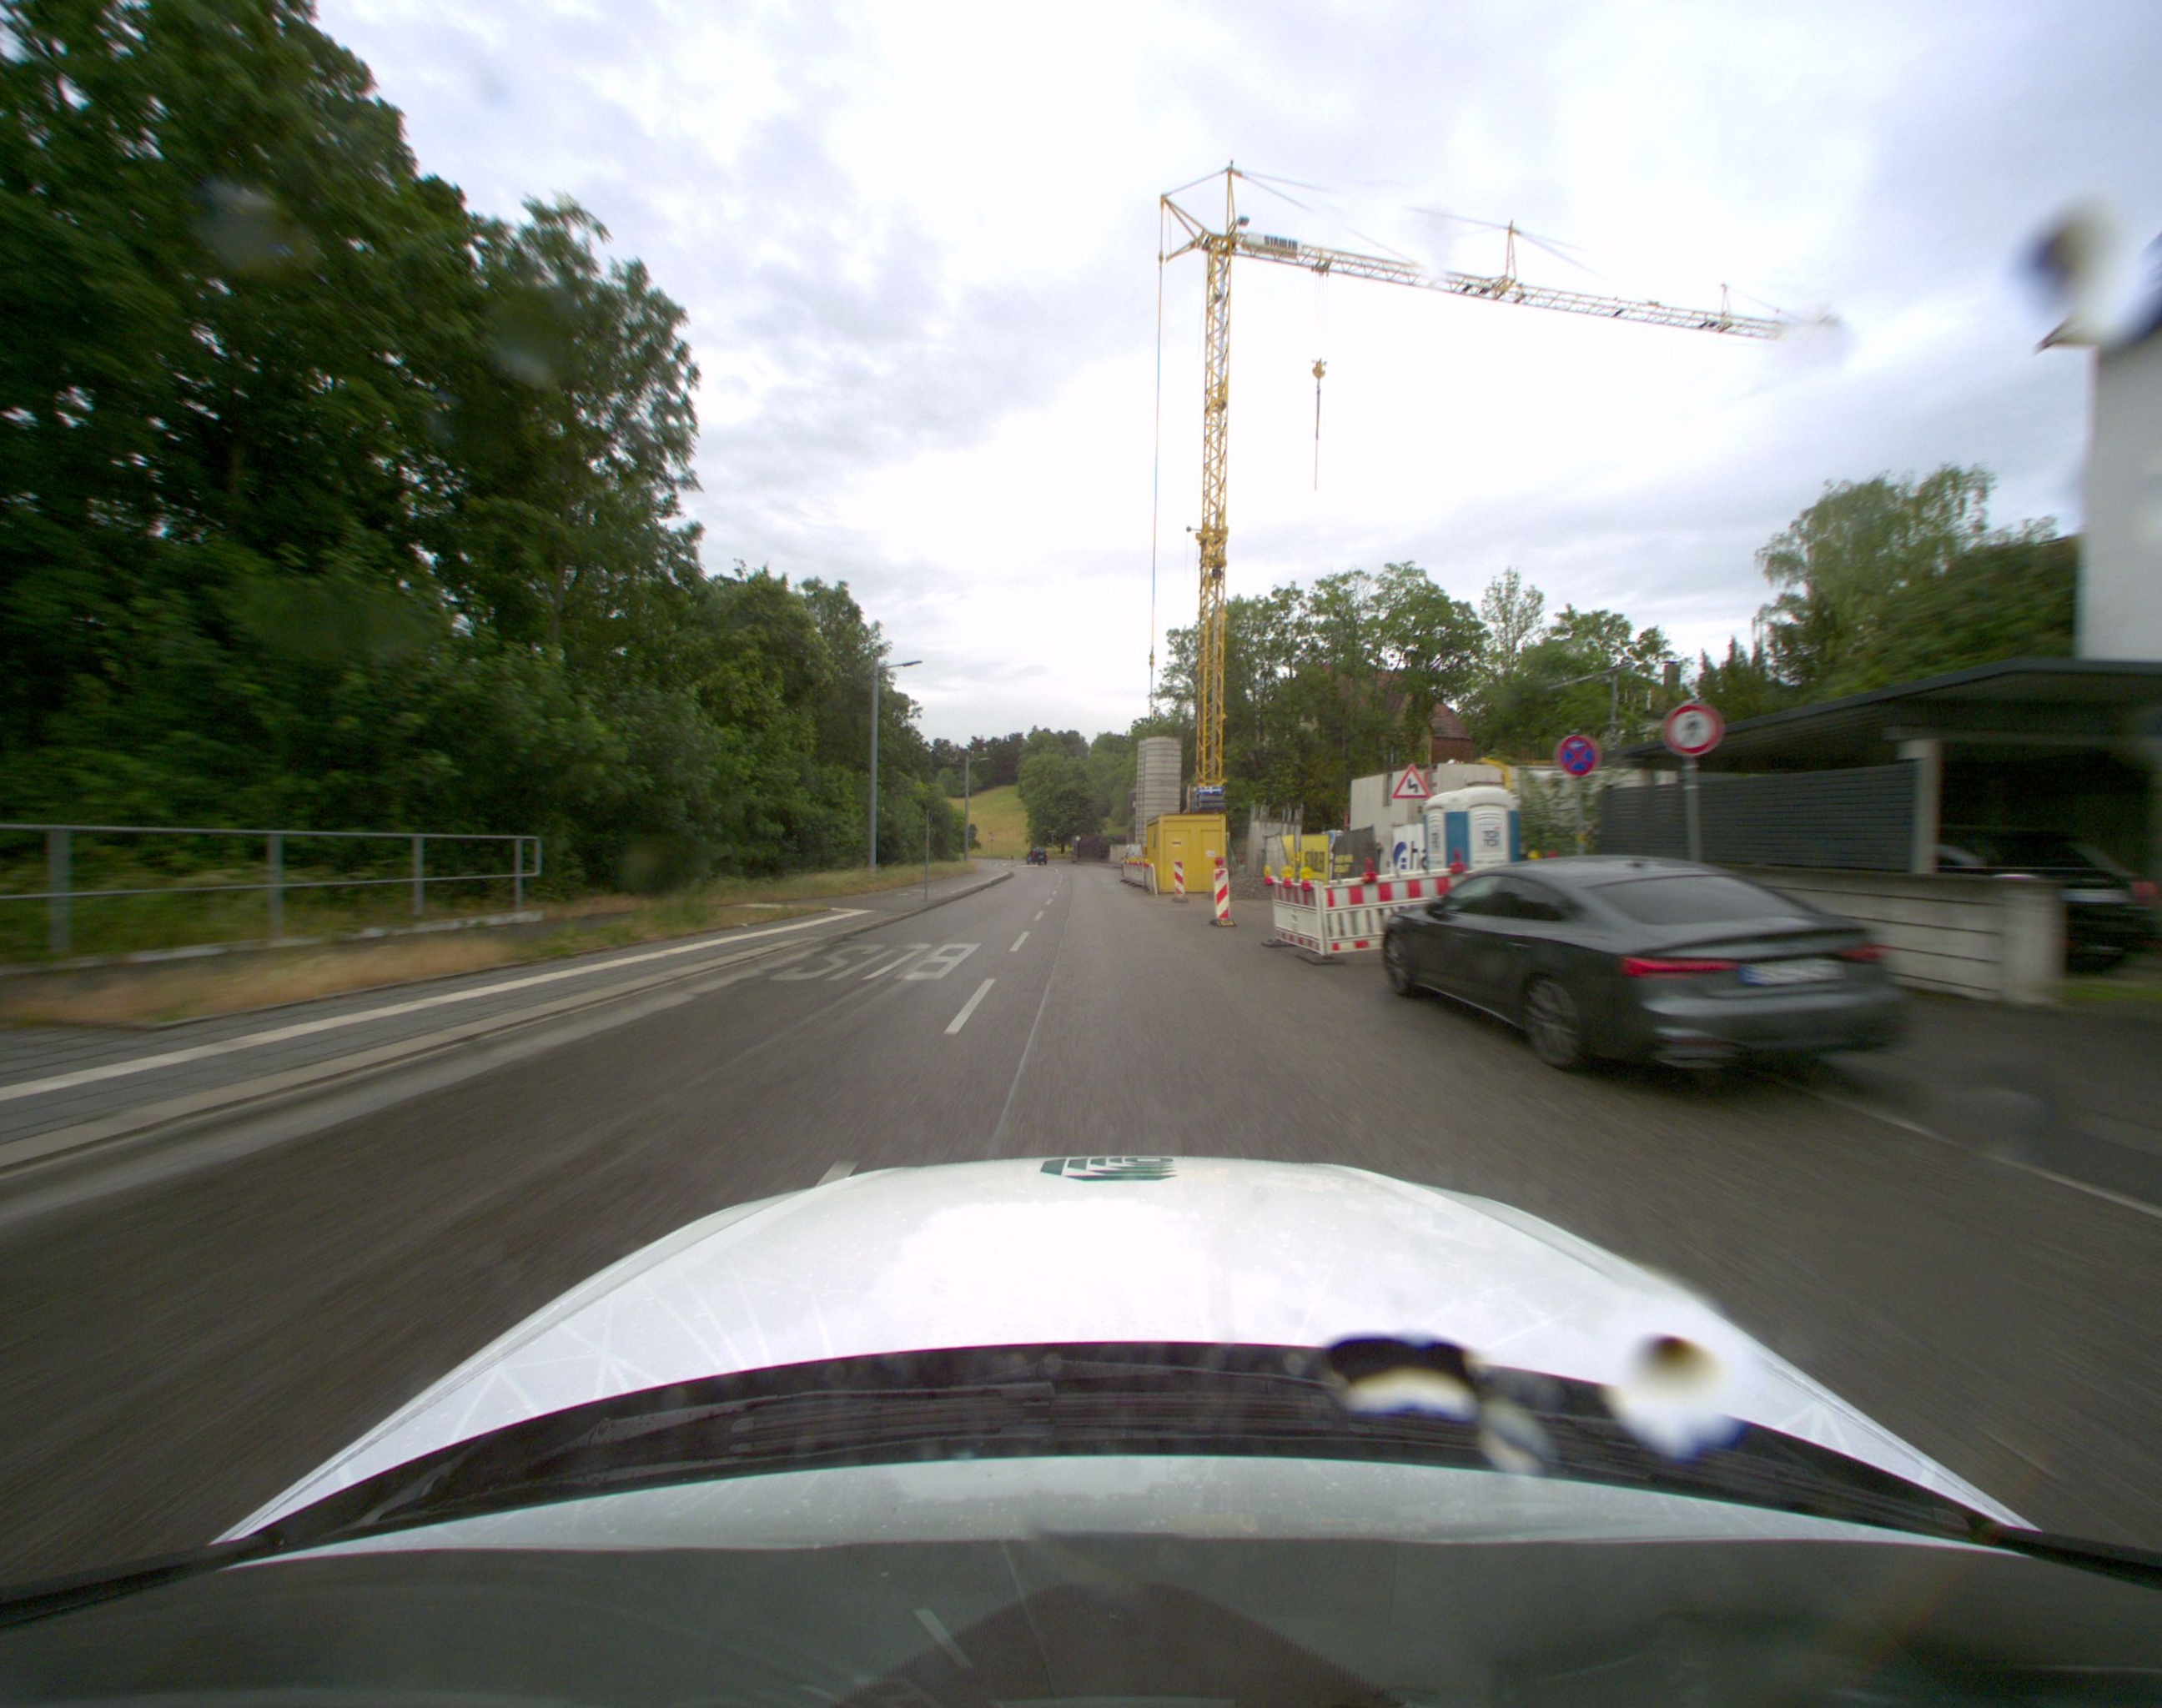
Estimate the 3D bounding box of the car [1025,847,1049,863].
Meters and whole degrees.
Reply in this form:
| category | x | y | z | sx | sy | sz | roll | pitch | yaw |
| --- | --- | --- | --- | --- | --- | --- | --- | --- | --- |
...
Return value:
| category | x | y | z | sx | sy | sz | roll | pitch | yaw |
| --- | --- | --- | --- | --- | --- | --- | --- | --- | --- |
| car | -5.082 | 0.135 | 93.279 | 1.936 | 1.751 | 3.979 | 0 | 1 | -16 |

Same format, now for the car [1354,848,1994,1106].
| category | x | y | z | sx | sy | sz | roll | pitch | yaw |
| --- | --- | --- | --- | --- | --- | --- | --- | --- | --- |
| car | 4.099 | 0.668 | 6.926 | 1.926 | 1.422 | 4.836 | 0 | 0 | 0 |

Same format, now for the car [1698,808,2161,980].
| category | x | y | z | sx | sy | sz | roll | pitch | yaw |
| --- | --- | --- | --- | --- | --- | --- | --- | --- | --- |
| car | 9.346 | 0.359 | 9.315 | 1.688 | 1.472 | 4.004 | 3 | 0 | 4 |

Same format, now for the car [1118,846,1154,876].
| category | x | y | z | sx | sy | sz | roll | pitch | yaw |
| --- | --- | --- | --- | --- | --- | --- | --- | --- | --- |
| car | 3.363 | 0.377 | 50.093 | 1.740 | 1.706 | 4.499 | -2 | 0 | -2 |
